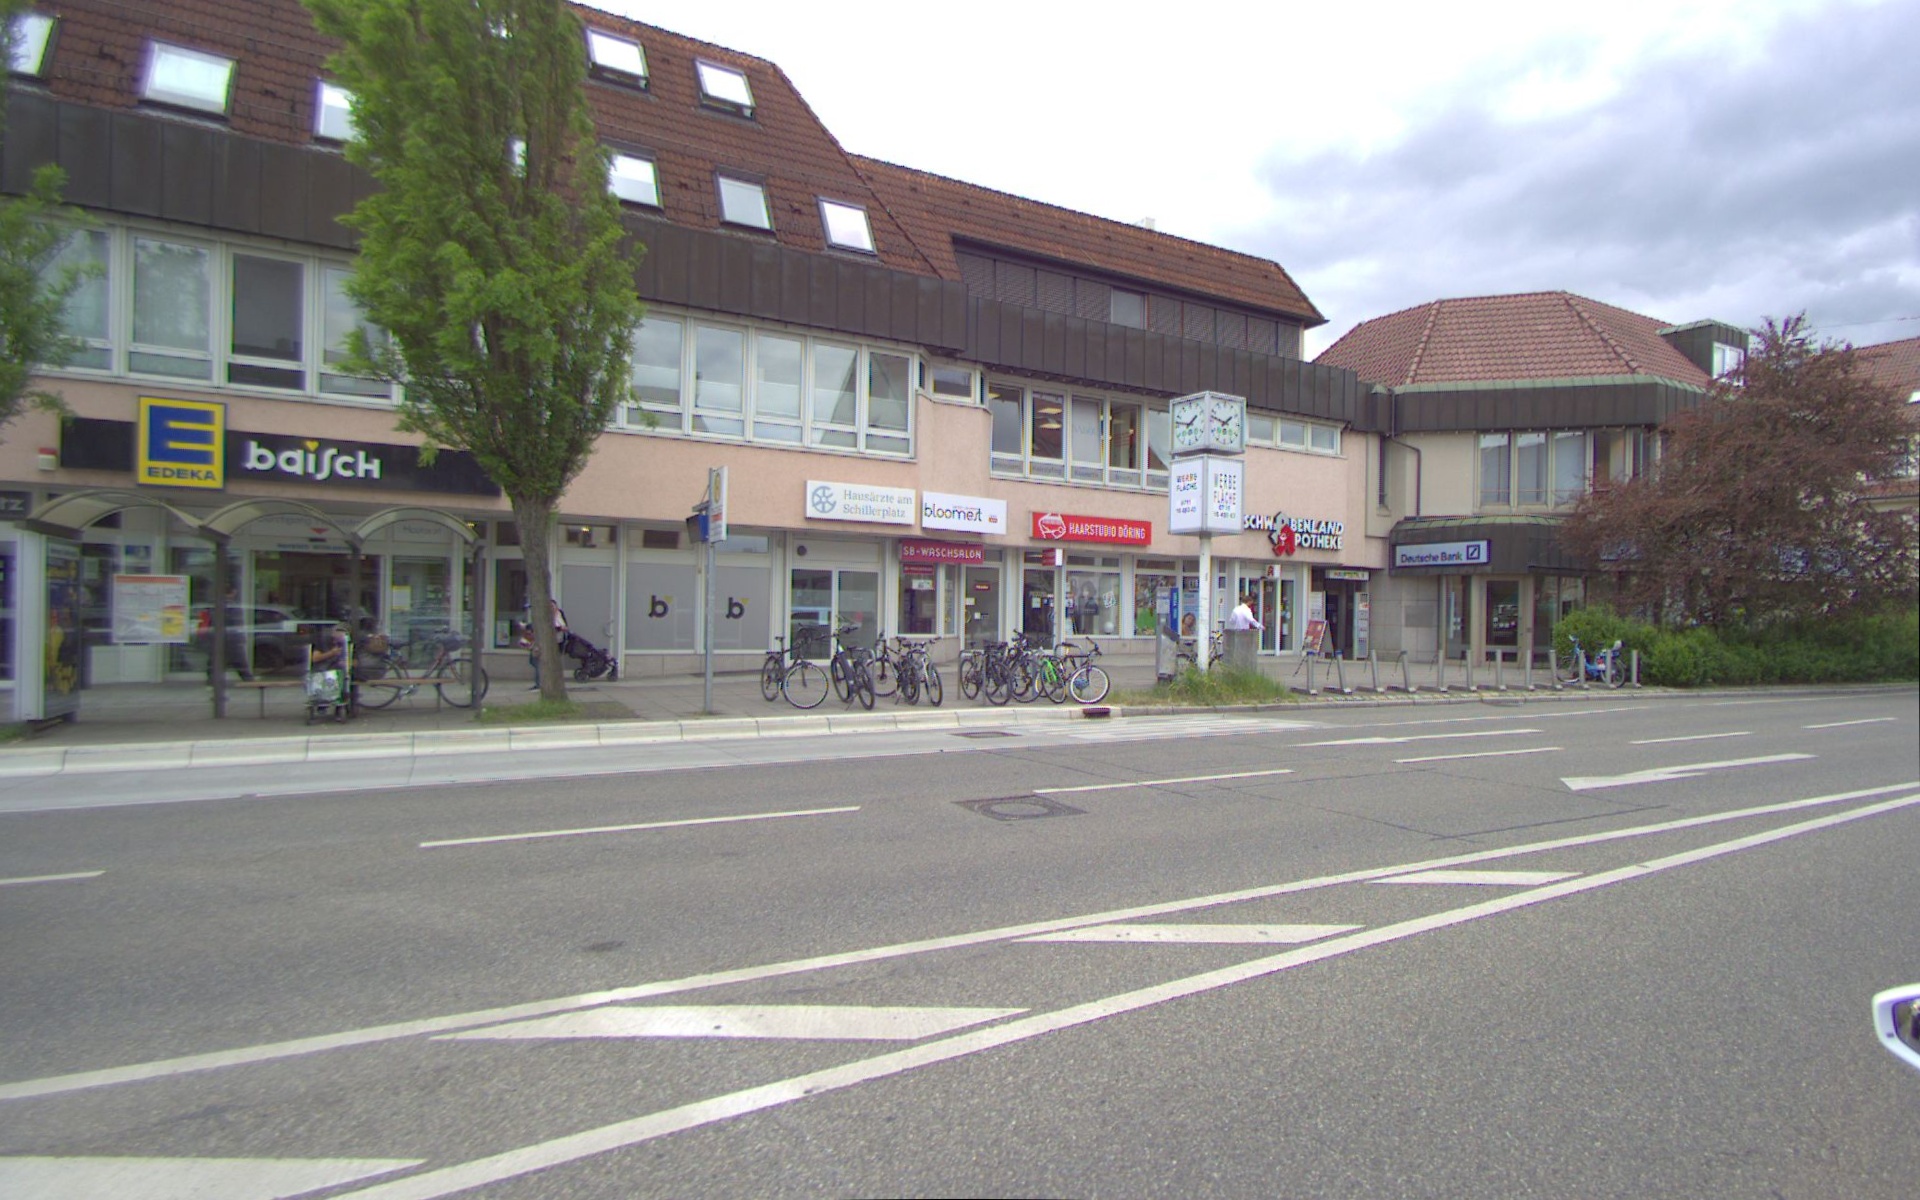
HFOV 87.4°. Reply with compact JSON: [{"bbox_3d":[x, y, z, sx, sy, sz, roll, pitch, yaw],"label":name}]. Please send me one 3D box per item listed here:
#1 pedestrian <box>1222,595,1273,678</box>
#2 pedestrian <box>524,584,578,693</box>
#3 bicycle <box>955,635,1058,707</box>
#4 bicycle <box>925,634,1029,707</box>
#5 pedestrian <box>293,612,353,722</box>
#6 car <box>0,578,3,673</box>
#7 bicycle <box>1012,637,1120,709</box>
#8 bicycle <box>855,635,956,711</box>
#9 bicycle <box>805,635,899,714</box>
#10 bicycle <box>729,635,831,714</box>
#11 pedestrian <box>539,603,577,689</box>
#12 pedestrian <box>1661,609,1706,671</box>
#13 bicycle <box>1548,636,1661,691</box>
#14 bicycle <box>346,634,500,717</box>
[{"bbox_3d":[6.382,0.790,22.326,0.746,1.788,0.722,0,3,-30],"label":"pedestrian"},{"bbox_3d":[-7.028,0.640,17.259,0.746,1.788,0.722,0,3,-30],"label":"pedestrian"},{"bbox_3d":[0.763,1.185,17.284,0.643,1.105,2.003,1,-1,-37],"label":"bicycle"},{"bbox_3d":[0.247,1.142,16.792,0.643,1.105,2.003,1,-1,-37],"label":"bicycle"},{"bbox_3d":[-8.308,0.853,13.123,0.580,1.382,0.709,0,1,-26],"label":"pedestrian"},{"bbox_3d":[-6.098,0.575,2.998,4.290,1.525,1.866,2,-2,-29],"label":"car"},{"bbox_3d":[1.790,1.214,17.216,0.643,1.105,2.003,1,-1,-37],"label":"bicycle"},{"bbox_3d":[-0.922,1.159,16.453,0.643,1.105,2.003,1,-1,-37],"label":"bicycle"},{"bbox_3d":[-1.721,1.130,15.735,0.642,1.105,2.006,1,-1,-32],"label":"bicycle"},{"bbox_3d":[-2.890,1.141,15.994,0.644,1.105,1.999,1,0,-42],"label":"bicycle"},{"bbox_3d":[-7.498,0.836,18.710,0.581,1.568,0.708,0,1,-29],"label":"pedestrian"},{"bbox_3d":[21.910,1.208,30.431,0.745,1.788,0.723,1,4,-24],"label":"pedestrian"},{"bbox_3d":[14.199,1.365,22.168,0.643,1.105,2.003,1,-1,-37],"label":"bicycle"},{"bbox_3d":[-7.678,1.052,14.412,1.908,1.105,0.531,1,0,-31],"label":"bicycle"}]
